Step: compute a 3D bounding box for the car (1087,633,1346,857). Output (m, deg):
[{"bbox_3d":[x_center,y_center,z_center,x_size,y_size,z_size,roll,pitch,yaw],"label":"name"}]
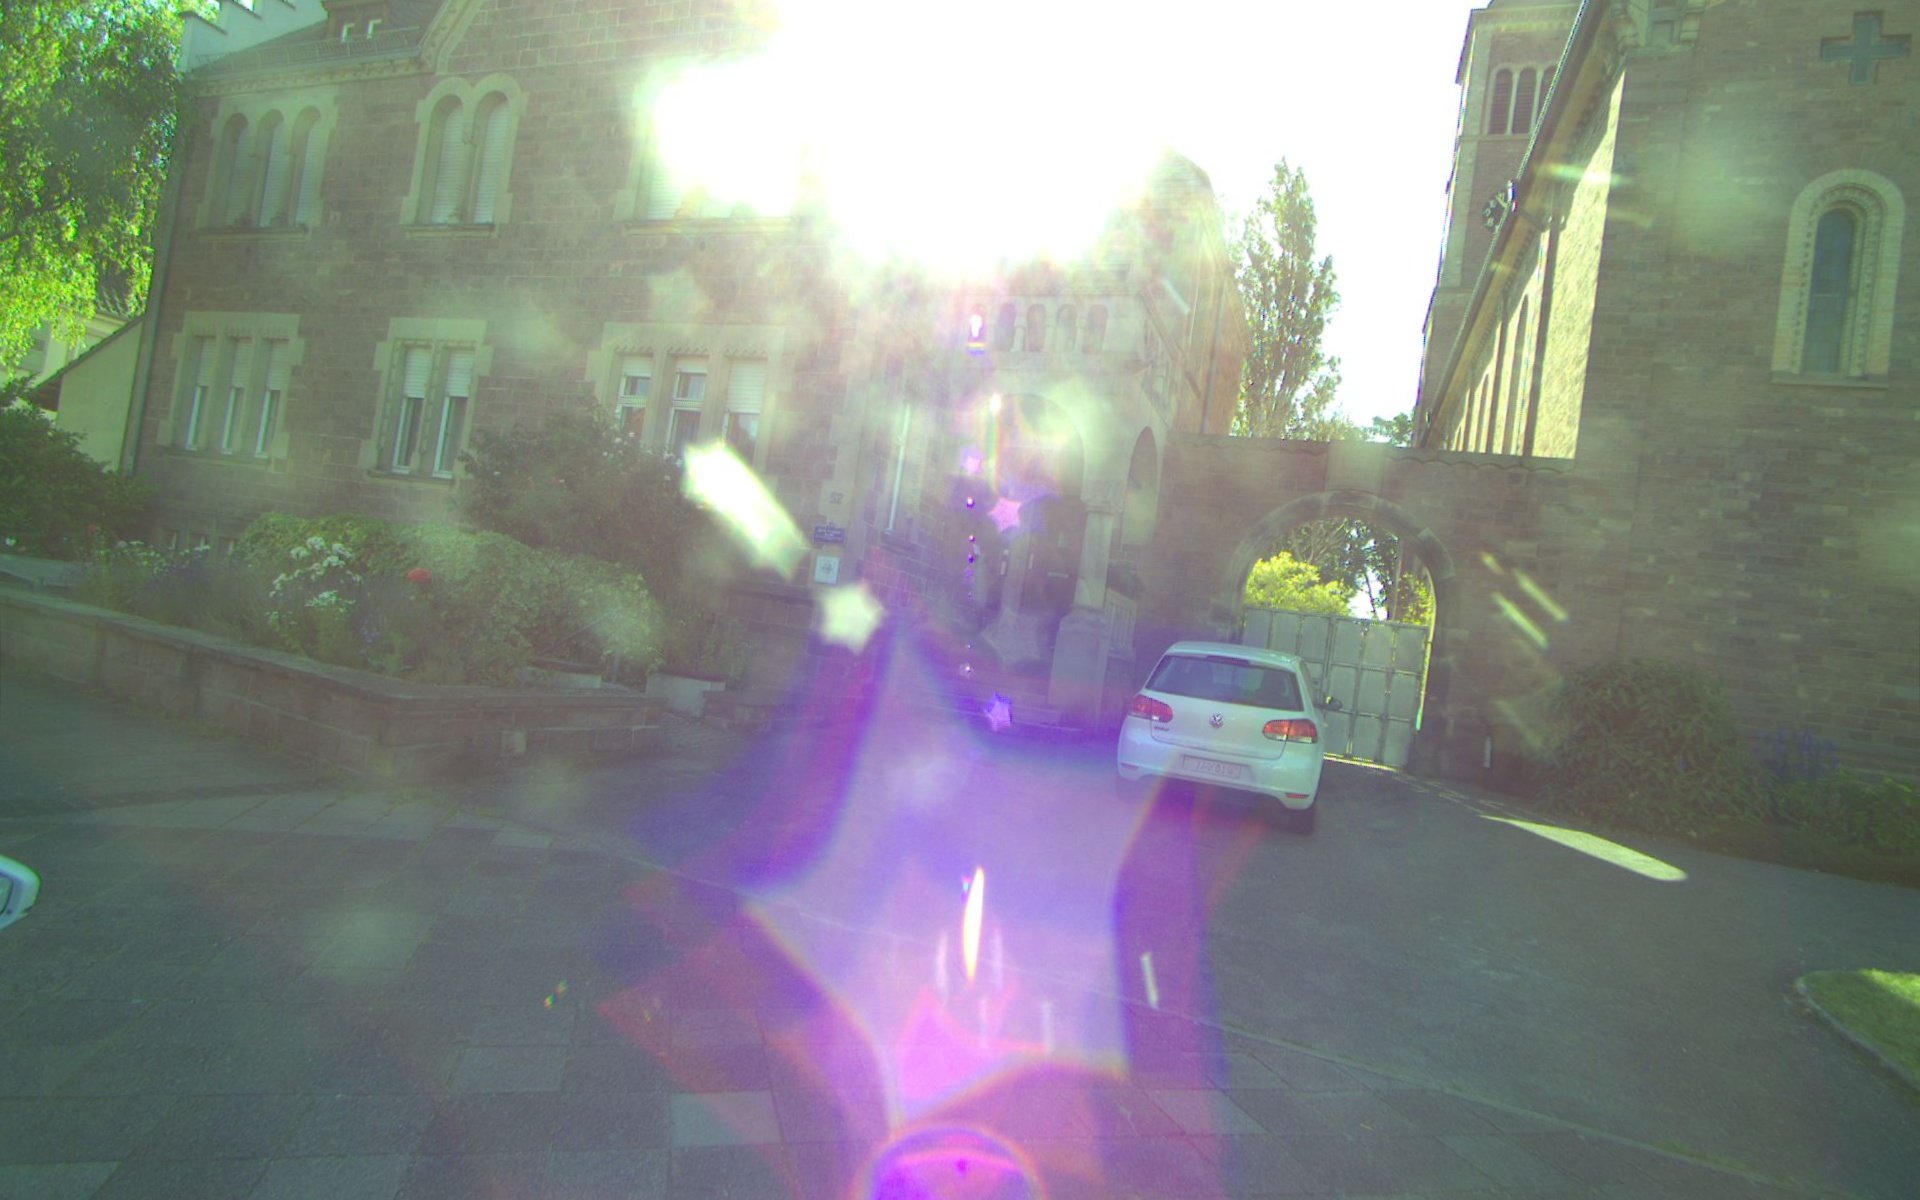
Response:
[{"bbox_3d":[2.668,1.190,9.830,1.869,1.515,3.909,6,0,20],"label":"car"}]
